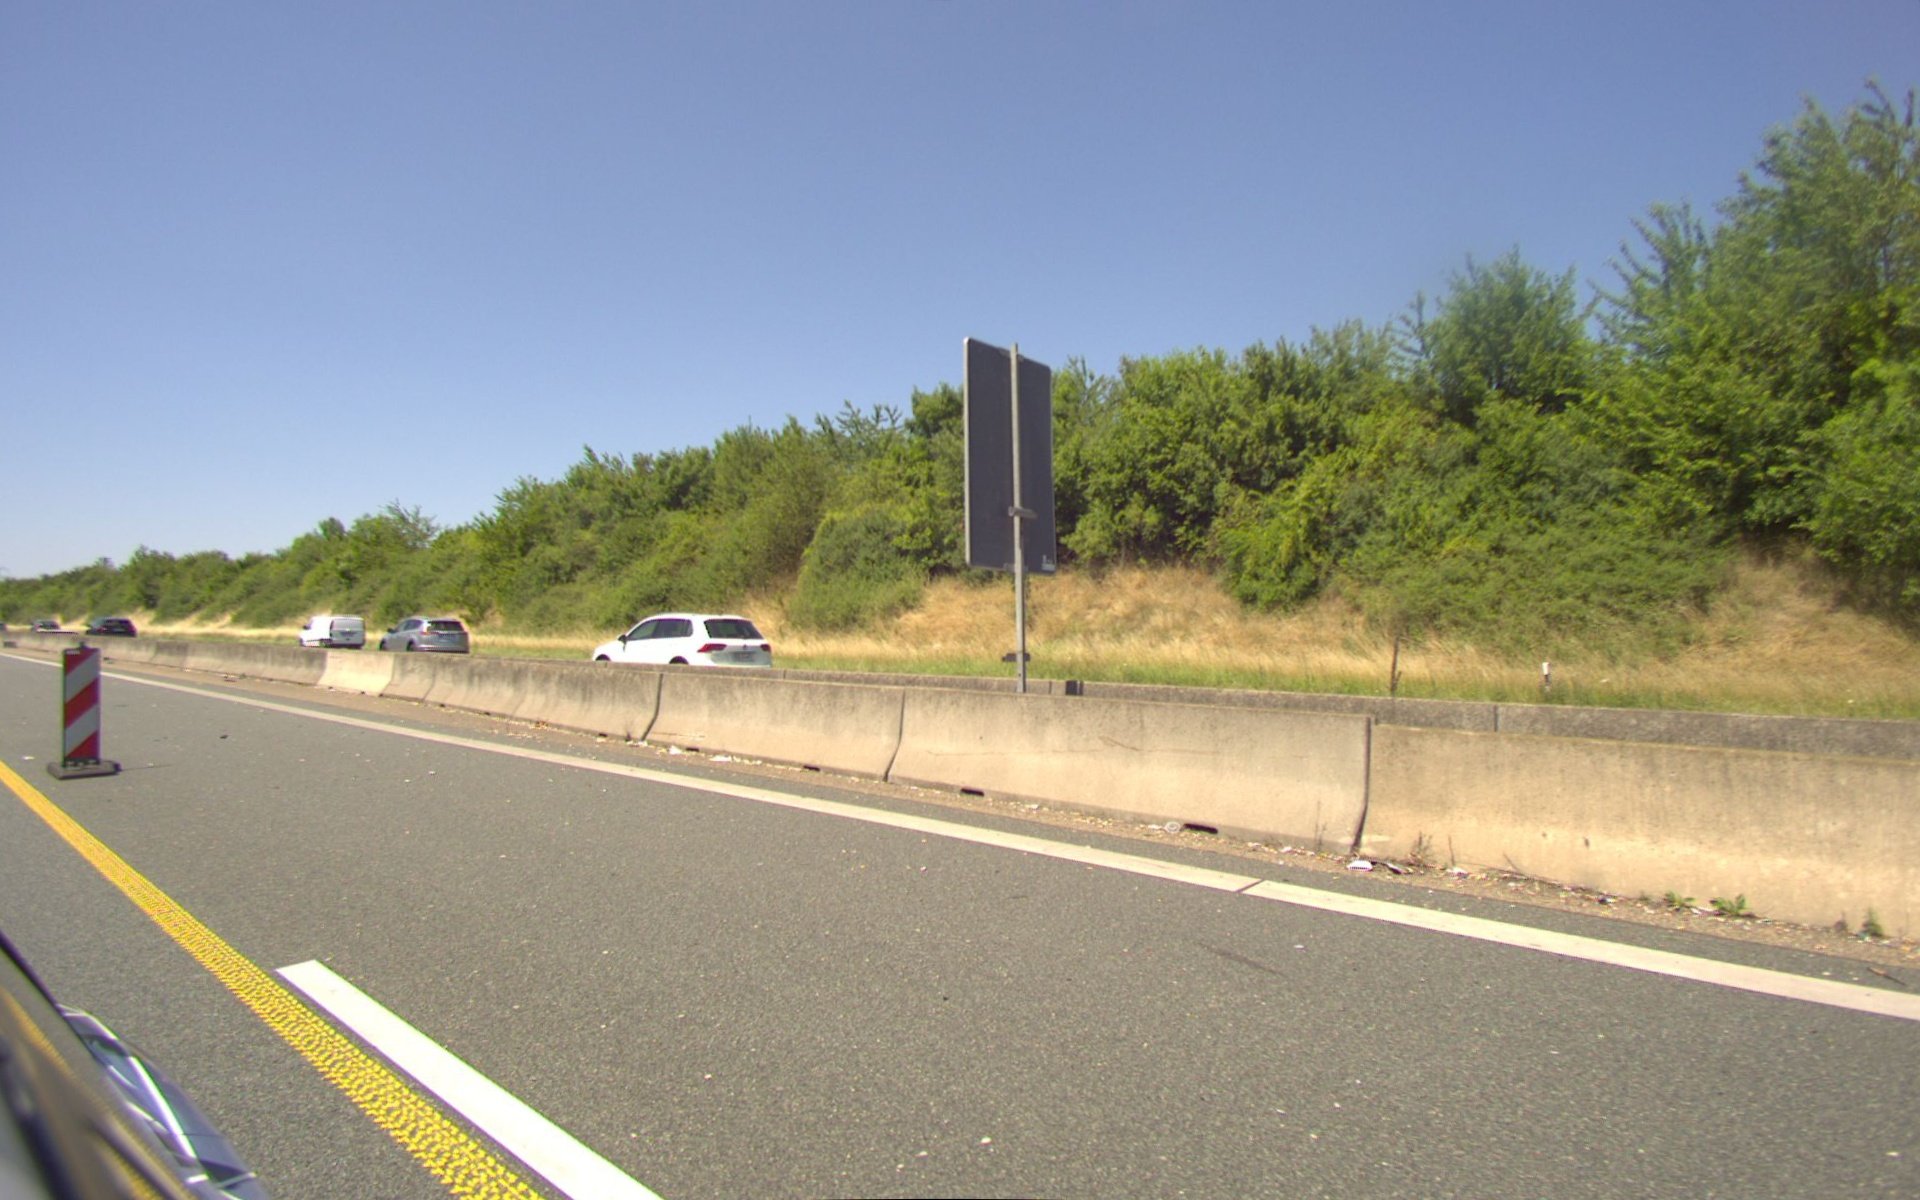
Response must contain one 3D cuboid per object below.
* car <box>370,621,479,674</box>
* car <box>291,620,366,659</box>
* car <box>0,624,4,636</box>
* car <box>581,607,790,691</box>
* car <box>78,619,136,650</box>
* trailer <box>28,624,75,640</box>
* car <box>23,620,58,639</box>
[{"bbox_3d":[-19.463,1.674,36.711,4.620,1.796,1.973,-1,-2,41],"label":"car"},{"bbox_3d":[-34.374,2.151,55.043,5.593,2.029,1.910,-2,-3,41],"label":"car"},{"bbox_3d":[-134.439,4.176,140.877,3.998,1.560,1.484,-1,-2,41],"label":"car"},{"bbox_3d":[-5.515,0.907,20.064,4.354,1.466,1.890,-1,0,41],"label":"car"},{"bbox_3d":[-48.436,1.935,57.444,4.496,1.707,1.853,-1,-2,42],"label":"car"},{"bbox_3d":[-82.439,2.881,91.796,7.213,1.354,2.331,-1,-2,41],"label":"trailer"},{"bbox_3d":[-86.957,2.770,95.696,4.563,1.767,1.893,-1,-1,41],"label":"car"}]
